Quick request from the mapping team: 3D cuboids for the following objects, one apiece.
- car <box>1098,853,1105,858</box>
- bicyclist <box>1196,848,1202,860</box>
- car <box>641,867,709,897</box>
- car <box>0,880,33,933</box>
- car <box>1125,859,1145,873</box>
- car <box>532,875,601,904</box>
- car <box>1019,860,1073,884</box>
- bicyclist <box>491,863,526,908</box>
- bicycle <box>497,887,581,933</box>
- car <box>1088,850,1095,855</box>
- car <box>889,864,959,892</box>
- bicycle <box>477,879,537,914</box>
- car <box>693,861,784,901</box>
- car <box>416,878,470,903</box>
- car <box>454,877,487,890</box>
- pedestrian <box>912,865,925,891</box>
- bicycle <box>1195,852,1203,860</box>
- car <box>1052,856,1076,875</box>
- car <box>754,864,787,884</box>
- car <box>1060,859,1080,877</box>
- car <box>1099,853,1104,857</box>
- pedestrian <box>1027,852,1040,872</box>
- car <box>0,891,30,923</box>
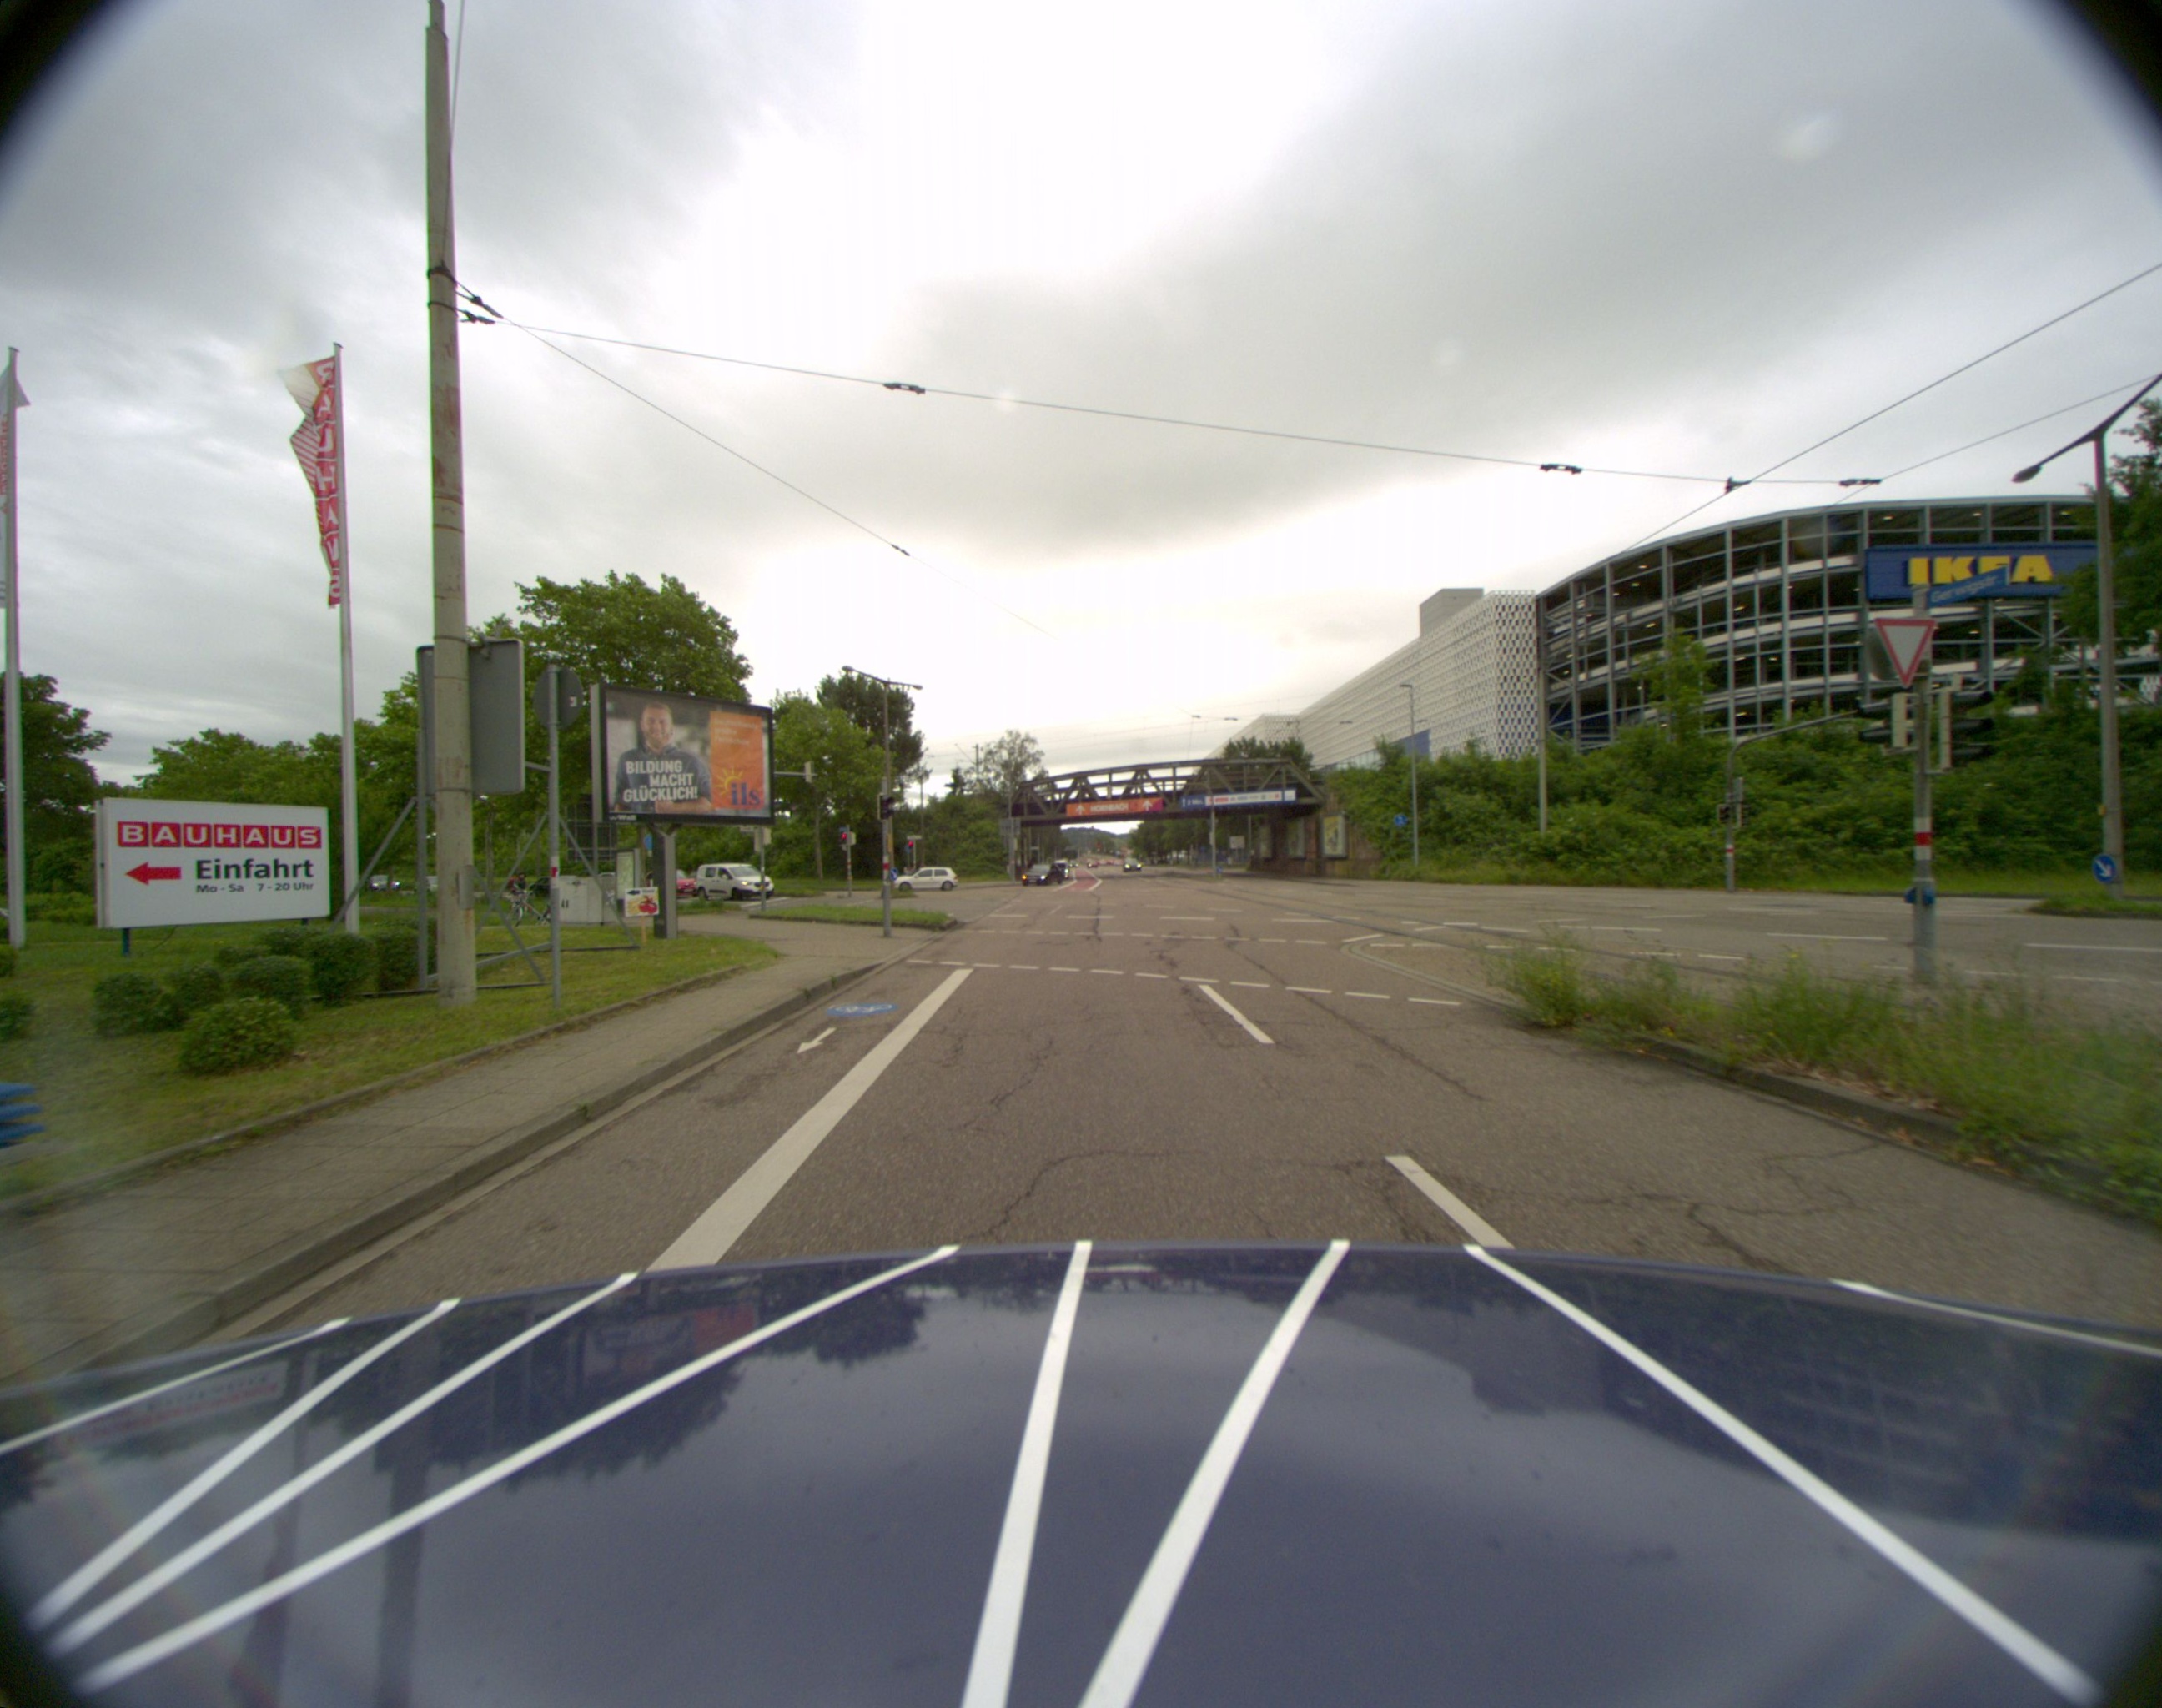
[{"bbox_3d":[6.366,0.517,234.572,1.681,1.420,3.649,0,0,-4],"label":"car"},{"bbox_3d":[18.603,-0.035,119.788,0.703,1.863,1.020,-3,1,-1],"label":"bicyclist"},{"bbox_3d":[-22.119,1.513,41.381,3.678,1.523,1.700,-1,0,34],"label":"car"},{"bbox_3d":[-32.475,1.618,20.865,1.821,1.488,4.242,-3,1,35],"label":"car"},{"bbox_3d":[6.006,1.359,85.516,1.837,1.415,4.000,-4,0,-1],"label":"car"},{"bbox_3d":[-28.076,1.918,41.448,4.054,1.473,1.700,-1,0,34],"label":"car"},{"bbox_3d":[-2.290,1.190,50.501,1.833,1.415,4.007,-3,0,26],"label":"car"},{"bbox_3d":[-19.462,1.055,25.824,0.758,1.511,0.583,-1,0,16],"label":"bicyclist"},{"bbox_3d":[-14.638,1.489,20.542,1.811,1.111,0.487,-1,0,-39],"label":"bicycle"},{"bbox_3d":[3.455,-0.482,251.740,1.651,1.787,3.979,0,0,-7],"label":"car"},{"bbox_3d":[-9.550,1.439,46.248,3.943,1.415,1.725,-3,0,-18],"label":"car"},{"bbox_3d":[-19.541,1.436,25.867,1.891,1.142,0.583,-1,0,16],"label":"bicycle"},{"bbox_3d":[-17.071,1.313,37.816,4.409,1.818,1.883,-1,2,32],"label":"car"},{"bbox_3d":[-43.673,2.497,52.015,3.989,1.524,1.788,-3,1,35],"label":"car"},{"bbox_3d":[-64.552,3.100,80.319,3.410,1.273,1.656,-3,0,33],"label":"car"},{"bbox_3d":[-10.519,1.539,49.138,0.744,1.630,0.778,-2,0,-11],"label":"pedestrian"},{"bbox_3d":[18.624,0.306,119.780,0.715,1.180,2.370,-3,1,0],"label":"bicycle"},{"bbox_3d":[-1.564,1.003,68.371,1.788,1.637,3.997,-1,0,-7],"label":"car"},{"bbox_3d":[-22.877,1.439,56.085,1.685,1.423,3.770,0,-1,-14],"label":"car"},{"bbox_3d":[-1.230,1.562,85.438,1.995,1.838,4.103,-1,0,-4],"label":"car"},{"bbox_3d":[6.660,0.381,245.473,1.628,1.414,3.611,0,0,-1],"label":"car"},{"bbox_3d":[-4.354,0.746,69.970,0.785,1.749,0.876,-1,0,35],"label":"pedestrian"},{"bbox_3d":[-52.961,2.564,34.604,2.149,1.432,5.737,-1,0,30],"label":"car"}]
